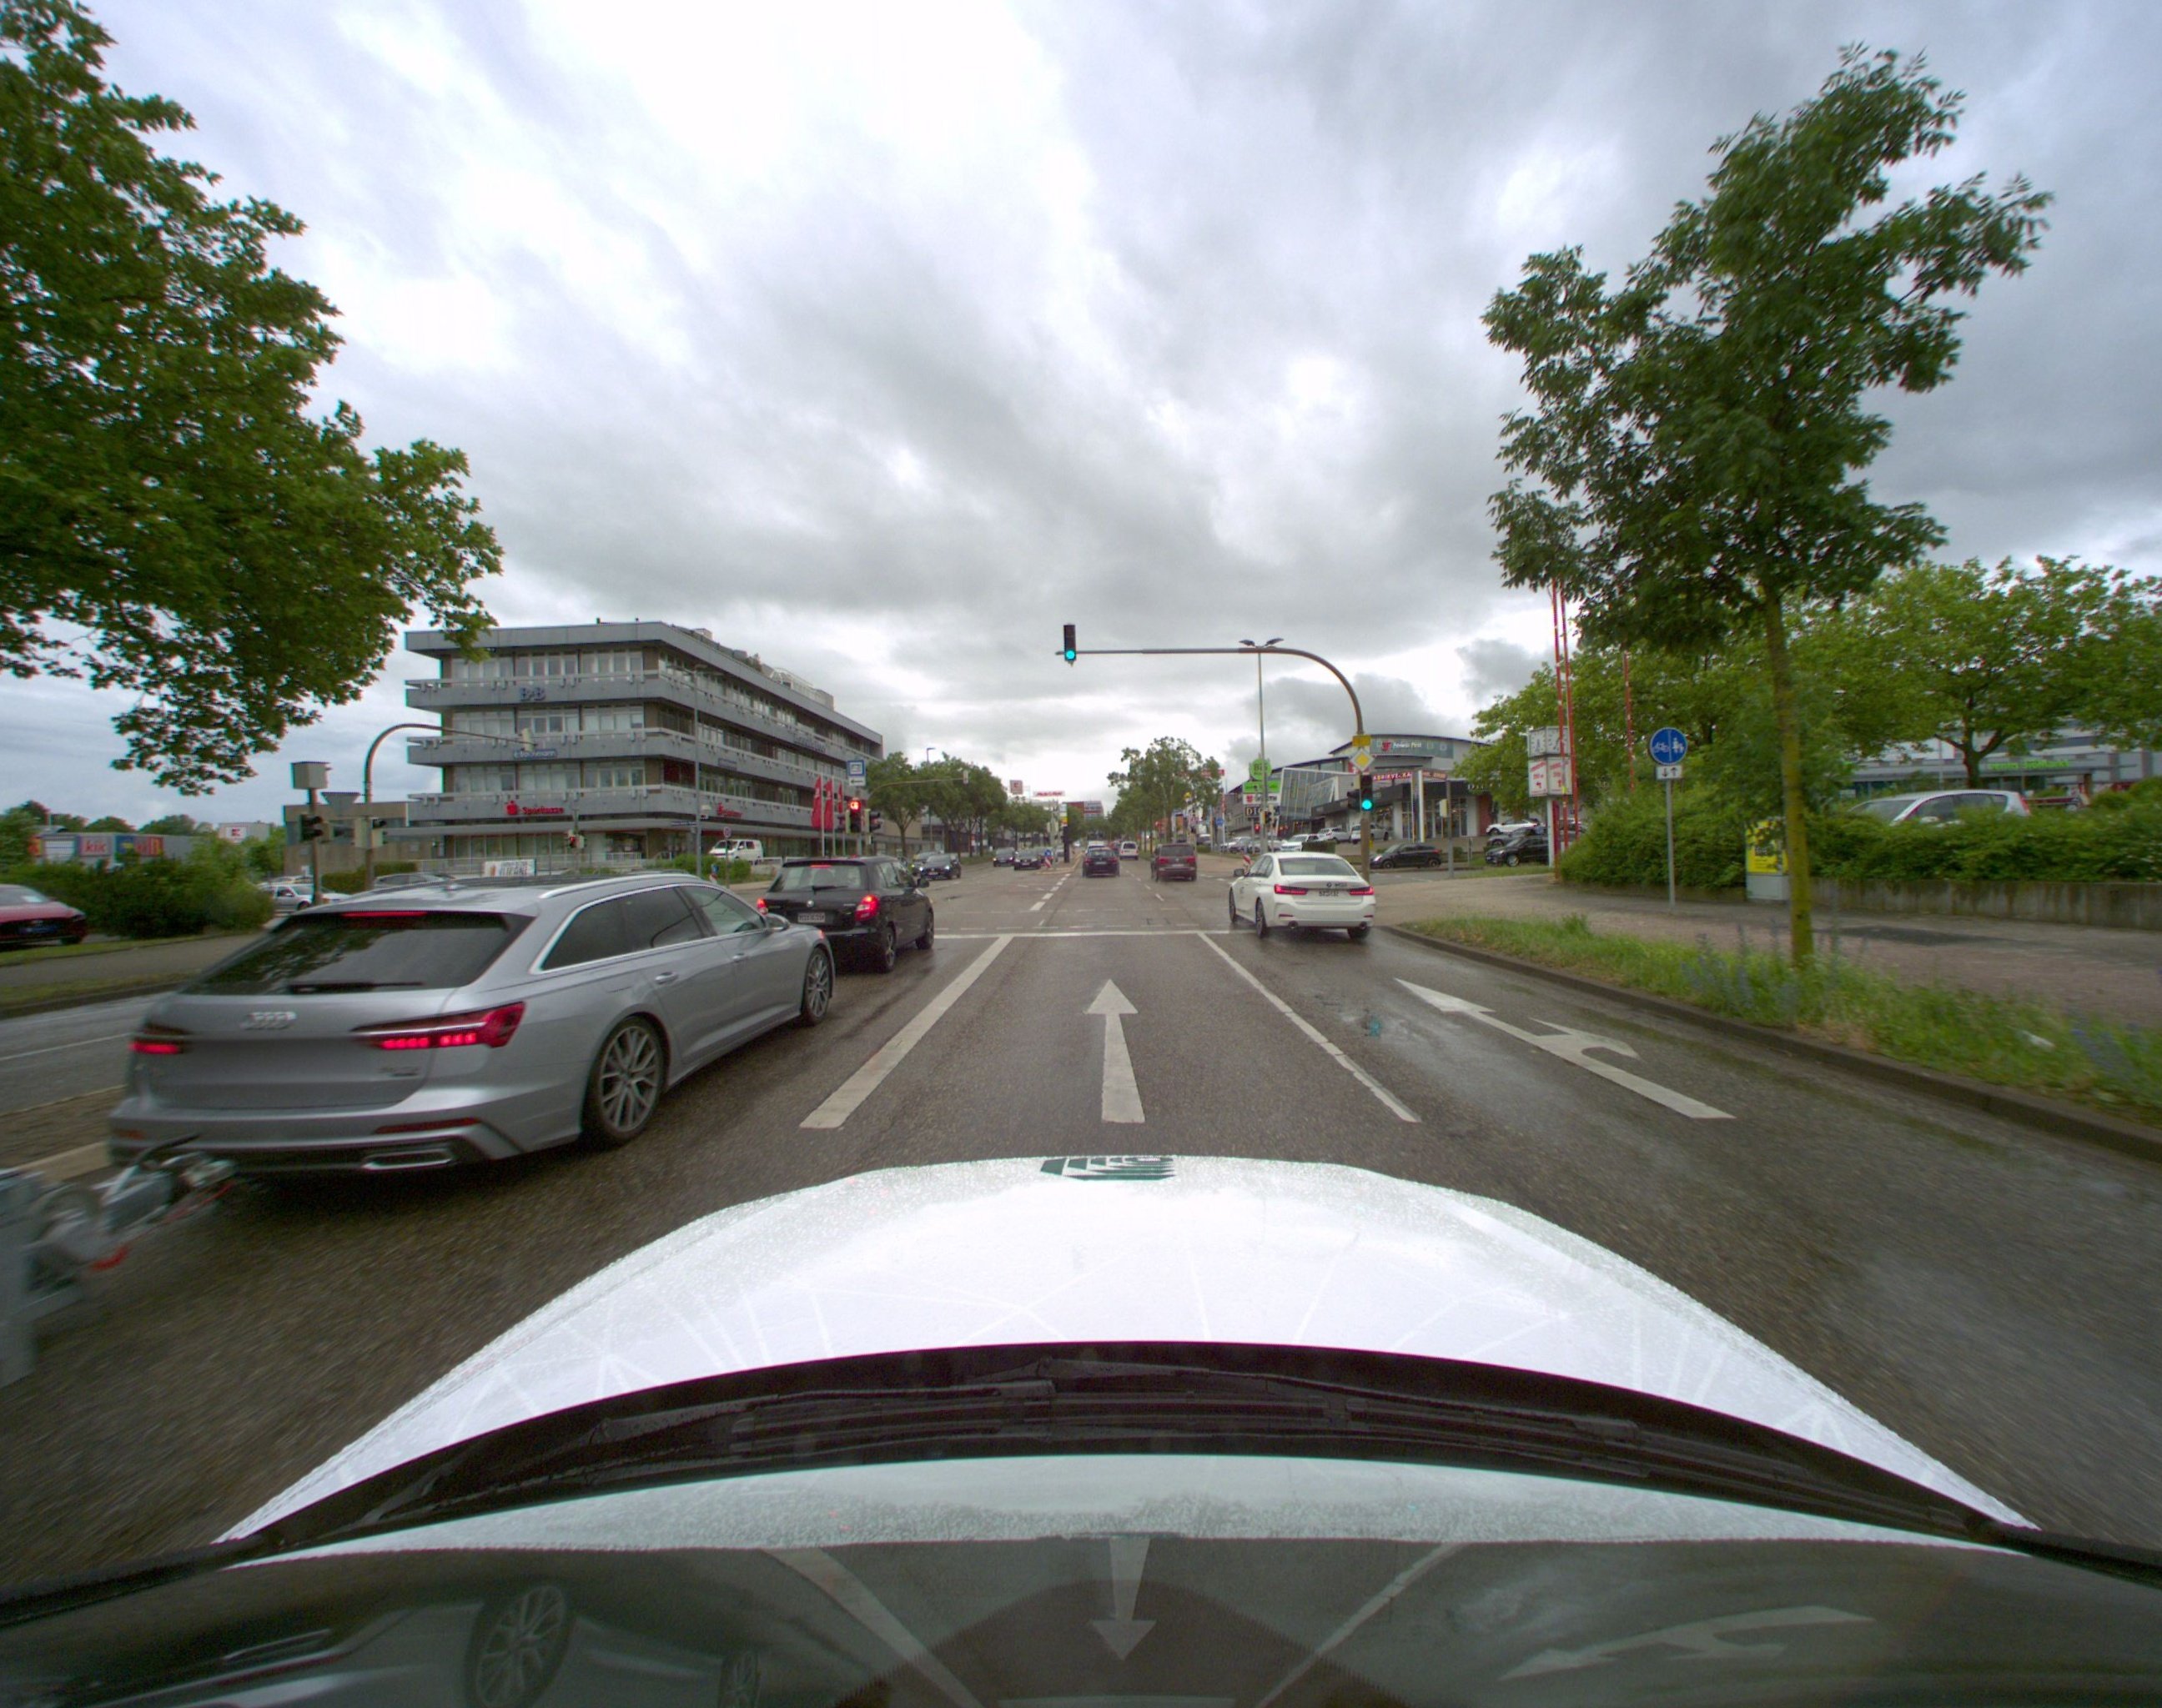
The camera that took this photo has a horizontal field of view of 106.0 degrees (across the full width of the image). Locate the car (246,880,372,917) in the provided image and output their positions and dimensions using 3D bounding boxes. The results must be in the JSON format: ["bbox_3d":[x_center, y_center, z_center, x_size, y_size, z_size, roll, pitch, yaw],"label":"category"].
[{"bbox_3d":[-33.863,1.934,35.802,3.673,1.399,1.880,-2,1,1],"label":"car"}]

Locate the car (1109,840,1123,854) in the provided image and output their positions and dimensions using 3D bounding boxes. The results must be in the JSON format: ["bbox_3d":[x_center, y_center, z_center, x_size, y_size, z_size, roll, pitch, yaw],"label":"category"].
[{"bbox_3d":[4.581,-0.907,106.504,1.678,1.684,3.405,0,0,2],"label":"car"}]

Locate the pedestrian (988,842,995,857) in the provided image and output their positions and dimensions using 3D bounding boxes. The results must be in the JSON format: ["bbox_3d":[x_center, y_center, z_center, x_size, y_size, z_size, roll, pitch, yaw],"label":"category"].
[{"bbox_3d":[-13.419,-0.738,122.180,0.856,2.218,0.846,-2,1,-2],"label":"pedestrian"}]

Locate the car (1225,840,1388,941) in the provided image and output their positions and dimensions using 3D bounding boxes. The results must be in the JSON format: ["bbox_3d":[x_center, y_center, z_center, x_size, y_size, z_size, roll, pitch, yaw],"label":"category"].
[{"bbox_3d":[3.881,0.548,14.846,1.795,1.544,4.621,0,0,1],"label":"car"}]

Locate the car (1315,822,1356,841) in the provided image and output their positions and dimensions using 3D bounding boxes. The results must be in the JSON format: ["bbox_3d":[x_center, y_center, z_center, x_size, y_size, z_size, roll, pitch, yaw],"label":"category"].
[{"bbox_3d":[25.002,-2.220,80.007,4.174,1.771,1.718,-3,1,-38],"label":"car"}]

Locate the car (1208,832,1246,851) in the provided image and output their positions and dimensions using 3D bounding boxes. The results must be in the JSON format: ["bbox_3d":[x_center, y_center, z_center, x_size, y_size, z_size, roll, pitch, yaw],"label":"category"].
[{"bbox_3d":[17.084,-1.503,95.402,4.094,2.105,1.801,-2,1,3],"label":"car"}]

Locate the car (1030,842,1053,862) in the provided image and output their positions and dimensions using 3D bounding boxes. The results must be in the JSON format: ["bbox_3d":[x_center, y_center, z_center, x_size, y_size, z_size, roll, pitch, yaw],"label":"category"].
[{"bbox_3d":[-3.215,-0.163,66.999,1.740,1.489,4.826,-2,0,-2],"label":"car"}]

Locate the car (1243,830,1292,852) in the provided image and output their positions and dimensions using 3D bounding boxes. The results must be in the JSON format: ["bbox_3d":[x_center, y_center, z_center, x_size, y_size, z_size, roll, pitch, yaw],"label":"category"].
[{"bbox_3d":[16.349,-1.176,71.291,4.047,1.662,1.960,-5,2,-38],"label":"car"}]

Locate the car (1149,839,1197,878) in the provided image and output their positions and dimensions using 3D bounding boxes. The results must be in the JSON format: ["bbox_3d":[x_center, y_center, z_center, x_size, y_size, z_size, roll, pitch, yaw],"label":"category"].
[{"bbox_3d":[3.948,0.149,35.510,1.794,1.587,4.453,0,1,2],"label":"car"}]

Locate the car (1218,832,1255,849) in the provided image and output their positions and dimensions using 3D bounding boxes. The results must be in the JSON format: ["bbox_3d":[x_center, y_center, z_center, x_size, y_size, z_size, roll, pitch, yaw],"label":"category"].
[{"bbox_3d":[16.225,-1.408,84.749,3.617,1.536,1.776,-3,1,-38],"label":"car"}]

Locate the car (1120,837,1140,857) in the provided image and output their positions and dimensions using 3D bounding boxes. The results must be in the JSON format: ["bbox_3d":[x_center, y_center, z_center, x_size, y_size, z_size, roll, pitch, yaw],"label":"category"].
[{"bbox_3d":[4.755,-0.706,79.654,1.775,1.866,4.001,-2,0,1],"label":"car"}]

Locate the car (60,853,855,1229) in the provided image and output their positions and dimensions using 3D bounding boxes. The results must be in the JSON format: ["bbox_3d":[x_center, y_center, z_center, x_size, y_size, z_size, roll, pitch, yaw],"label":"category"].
[{"bbox_3d":[-3.231,0.766,5.736,1.759,1.458,4.782,-2,0,2],"label":"car"}]

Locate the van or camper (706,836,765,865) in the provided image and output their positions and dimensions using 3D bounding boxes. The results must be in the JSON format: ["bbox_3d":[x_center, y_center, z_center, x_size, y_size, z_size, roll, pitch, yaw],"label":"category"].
[{"bbox_3d":[-24.239,-0.244,57.313,1.986,1.967,4.790,0,0,1],"label":"van or camper"}]

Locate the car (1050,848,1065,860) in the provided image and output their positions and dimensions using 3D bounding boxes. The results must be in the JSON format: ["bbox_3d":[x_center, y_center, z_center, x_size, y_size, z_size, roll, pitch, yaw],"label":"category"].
[{"bbox_3d":[-3.025,-0.007,105.612,1.717,1.398,4.790,-4,0,1],"label":"car"}]

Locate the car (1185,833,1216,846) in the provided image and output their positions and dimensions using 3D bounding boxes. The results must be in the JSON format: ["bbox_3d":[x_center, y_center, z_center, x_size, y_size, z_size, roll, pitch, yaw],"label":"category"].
[{"bbox_3d":[16.680,-2.060,113.785,4.088,1.703,1.803,-2,1,7],"label":"car"}]

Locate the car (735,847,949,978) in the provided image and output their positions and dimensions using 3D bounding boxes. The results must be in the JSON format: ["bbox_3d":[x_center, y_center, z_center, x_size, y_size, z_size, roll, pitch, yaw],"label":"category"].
[{"bbox_3d":[-3.169,0.675,11.693,1.707,1.489,4.079,-2,0,1],"label":"car"}]

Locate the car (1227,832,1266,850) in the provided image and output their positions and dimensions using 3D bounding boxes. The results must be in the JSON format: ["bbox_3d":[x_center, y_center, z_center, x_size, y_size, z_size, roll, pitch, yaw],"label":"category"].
[{"bbox_3d":[15.643,-1.205,77.055,3.616,1.536,1.625,-3,1,-38],"label":"car"}]

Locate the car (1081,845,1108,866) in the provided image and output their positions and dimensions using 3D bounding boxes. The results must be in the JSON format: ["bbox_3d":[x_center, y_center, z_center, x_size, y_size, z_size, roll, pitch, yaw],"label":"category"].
[{"bbox_3d":[0.947,0.087,58.421,1.678,1.377,3.997,-2,1,-2],"label":"car"}]

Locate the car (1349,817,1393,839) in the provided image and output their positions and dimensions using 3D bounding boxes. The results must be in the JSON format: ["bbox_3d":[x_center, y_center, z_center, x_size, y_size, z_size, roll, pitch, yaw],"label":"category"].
[{"bbox_3d":[25.034,-2.228,70.329,4.177,1.771,1.717,-3,1,-42],"label":"car"}]

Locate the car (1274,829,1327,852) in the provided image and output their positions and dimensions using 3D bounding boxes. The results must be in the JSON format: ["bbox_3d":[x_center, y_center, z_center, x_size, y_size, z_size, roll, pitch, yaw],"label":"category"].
[{"bbox_3d":[16.013,-1.000,59.297,1.908,1.576,4.314,-2,1,43],"label":"car"}]

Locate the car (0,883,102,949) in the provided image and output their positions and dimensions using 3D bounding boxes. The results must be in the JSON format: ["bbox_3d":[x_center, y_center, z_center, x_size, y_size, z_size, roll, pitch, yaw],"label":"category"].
[{"bbox_3d":[-24.323,1.412,17.715,3.732,1.294,1.688,-3,1,-3],"label":"car"}]

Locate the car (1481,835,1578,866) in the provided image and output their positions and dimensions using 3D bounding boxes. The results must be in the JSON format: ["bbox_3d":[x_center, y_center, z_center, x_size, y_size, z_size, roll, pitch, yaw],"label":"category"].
[{"bbox_3d":[23.310,-0.172,42.453,4.119,1.548,1.741,0,0,6],"label":"car"}]

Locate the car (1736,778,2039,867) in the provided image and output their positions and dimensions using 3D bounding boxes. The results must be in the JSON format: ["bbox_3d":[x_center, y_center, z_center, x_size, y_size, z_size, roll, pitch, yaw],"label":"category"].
[{"bbox_3d":[15.103,-0.577,15.432,3.969,1.442,1.657,-2,1,3],"label":"car"}]

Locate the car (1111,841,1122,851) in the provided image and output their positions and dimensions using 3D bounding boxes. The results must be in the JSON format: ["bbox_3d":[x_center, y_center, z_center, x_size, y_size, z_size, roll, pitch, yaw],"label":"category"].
[{"bbox_3d":[5.959,-1.379,135.789,1.688,1.443,3.993,-2,3,2],"label":"car"}]

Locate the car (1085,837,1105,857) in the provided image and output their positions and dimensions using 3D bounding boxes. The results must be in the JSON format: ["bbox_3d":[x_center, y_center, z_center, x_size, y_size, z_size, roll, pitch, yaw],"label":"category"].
[{"bbox_3d":[1.492,-0.722,83.407,1.986,2.014,4.001,0,0,2],"label":"car"}]

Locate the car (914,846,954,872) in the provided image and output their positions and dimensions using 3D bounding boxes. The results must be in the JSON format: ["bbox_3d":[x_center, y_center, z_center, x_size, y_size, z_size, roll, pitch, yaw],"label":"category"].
[{"bbox_3d":[-10.686,0.329,59.554,1.904,1.727,4.885,-2,1,1],"label":"car"}]

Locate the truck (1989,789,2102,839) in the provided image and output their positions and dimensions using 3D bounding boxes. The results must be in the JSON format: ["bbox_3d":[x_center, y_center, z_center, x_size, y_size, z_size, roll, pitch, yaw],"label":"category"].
[{"bbox_3d":[53.704,-2.199,45.411,3.964,2.485,1.818,-3,-1,1],"label":"truck"}]

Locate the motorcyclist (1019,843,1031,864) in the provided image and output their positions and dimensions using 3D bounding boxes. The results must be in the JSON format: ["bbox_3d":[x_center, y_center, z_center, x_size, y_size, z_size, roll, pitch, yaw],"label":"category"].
[{"bbox_3d":[-4.270,-0.072,62.069,0.804,1.559,1.267,-2,1,0],"label":"motorcyclist"}]

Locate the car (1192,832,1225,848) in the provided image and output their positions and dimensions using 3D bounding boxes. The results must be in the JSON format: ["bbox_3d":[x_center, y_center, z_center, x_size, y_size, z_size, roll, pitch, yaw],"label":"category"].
[{"bbox_3d":[16.636,-1.862,106.551,4.094,1.904,1.801,-2,1,3],"label":"car"}]

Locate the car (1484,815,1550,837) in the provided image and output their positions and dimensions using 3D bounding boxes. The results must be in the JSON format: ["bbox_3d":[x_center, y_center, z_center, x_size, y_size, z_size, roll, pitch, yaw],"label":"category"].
[{"bbox_3d":[33.724,-2.149,63.112,1.747,1.480,4.106,-3,1,-39],"label":"car"}]

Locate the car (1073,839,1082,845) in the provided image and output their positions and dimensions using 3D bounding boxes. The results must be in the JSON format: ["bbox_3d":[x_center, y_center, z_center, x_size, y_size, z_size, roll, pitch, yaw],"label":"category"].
[{"bbox_3d":[-0.846,-2.903,200.214,1.936,1.448,4.001,-1,1,1],"label":"car"}]

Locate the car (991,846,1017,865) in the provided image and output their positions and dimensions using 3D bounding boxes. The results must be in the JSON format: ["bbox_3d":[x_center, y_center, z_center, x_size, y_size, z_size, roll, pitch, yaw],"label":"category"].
[{"bbox_3d":[-6.790,0.119,72.070,1.906,1.608,4.360,-2,1,-2],"label":"car"}]

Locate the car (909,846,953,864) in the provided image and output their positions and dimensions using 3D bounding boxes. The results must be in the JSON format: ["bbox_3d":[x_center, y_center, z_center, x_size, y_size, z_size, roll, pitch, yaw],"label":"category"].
[{"bbox_3d":[-14.481,0.142,78.736,3.948,1.552,1.912,-2,1,36],"label":"car"}]

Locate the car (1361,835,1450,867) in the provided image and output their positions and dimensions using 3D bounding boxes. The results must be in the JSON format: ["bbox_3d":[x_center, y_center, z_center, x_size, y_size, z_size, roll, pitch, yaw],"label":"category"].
[{"bbox_3d":[17.128,-0.148,43.117,3.964,1.489,1.818,-3,0,1],"label":"car"}]

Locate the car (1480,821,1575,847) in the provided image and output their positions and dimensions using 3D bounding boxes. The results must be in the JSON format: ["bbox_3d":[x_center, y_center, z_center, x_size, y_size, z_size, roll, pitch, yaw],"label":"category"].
[{"bbox_3d":[28.724,-1.277,52.484,2.012,1.486,4.948,-3,1,-43],"label":"car"}]

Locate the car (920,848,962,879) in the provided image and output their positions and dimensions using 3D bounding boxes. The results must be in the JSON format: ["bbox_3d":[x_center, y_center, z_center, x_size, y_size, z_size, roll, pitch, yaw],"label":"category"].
[{"bbox_3d":[-7.702,0.472,45.175,1.706,1.580,3.997,-2,1,-2],"label":"car"}]

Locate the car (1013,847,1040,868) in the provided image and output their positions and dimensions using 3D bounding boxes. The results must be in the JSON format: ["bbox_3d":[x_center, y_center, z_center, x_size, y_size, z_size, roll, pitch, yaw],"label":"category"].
[{"bbox_3d":[-3.811,0.237,57.450,1.678,1.377,3.997,-2,1,-2],"label":"car"}]

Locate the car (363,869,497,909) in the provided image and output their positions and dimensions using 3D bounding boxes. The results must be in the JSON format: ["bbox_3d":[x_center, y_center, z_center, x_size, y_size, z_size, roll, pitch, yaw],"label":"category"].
[{"bbox_3d":[-27.778,1.471,34.860,4.134,1.489,1.879,-2,1,0],"label":"car"}]

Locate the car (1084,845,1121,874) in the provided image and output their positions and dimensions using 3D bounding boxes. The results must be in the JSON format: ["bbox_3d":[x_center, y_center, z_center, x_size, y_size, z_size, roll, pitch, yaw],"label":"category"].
[{"bbox_3d":[1.077,0.240,41.524,1.775,1.398,4.001,-1,0,1],"label":"car"}]
